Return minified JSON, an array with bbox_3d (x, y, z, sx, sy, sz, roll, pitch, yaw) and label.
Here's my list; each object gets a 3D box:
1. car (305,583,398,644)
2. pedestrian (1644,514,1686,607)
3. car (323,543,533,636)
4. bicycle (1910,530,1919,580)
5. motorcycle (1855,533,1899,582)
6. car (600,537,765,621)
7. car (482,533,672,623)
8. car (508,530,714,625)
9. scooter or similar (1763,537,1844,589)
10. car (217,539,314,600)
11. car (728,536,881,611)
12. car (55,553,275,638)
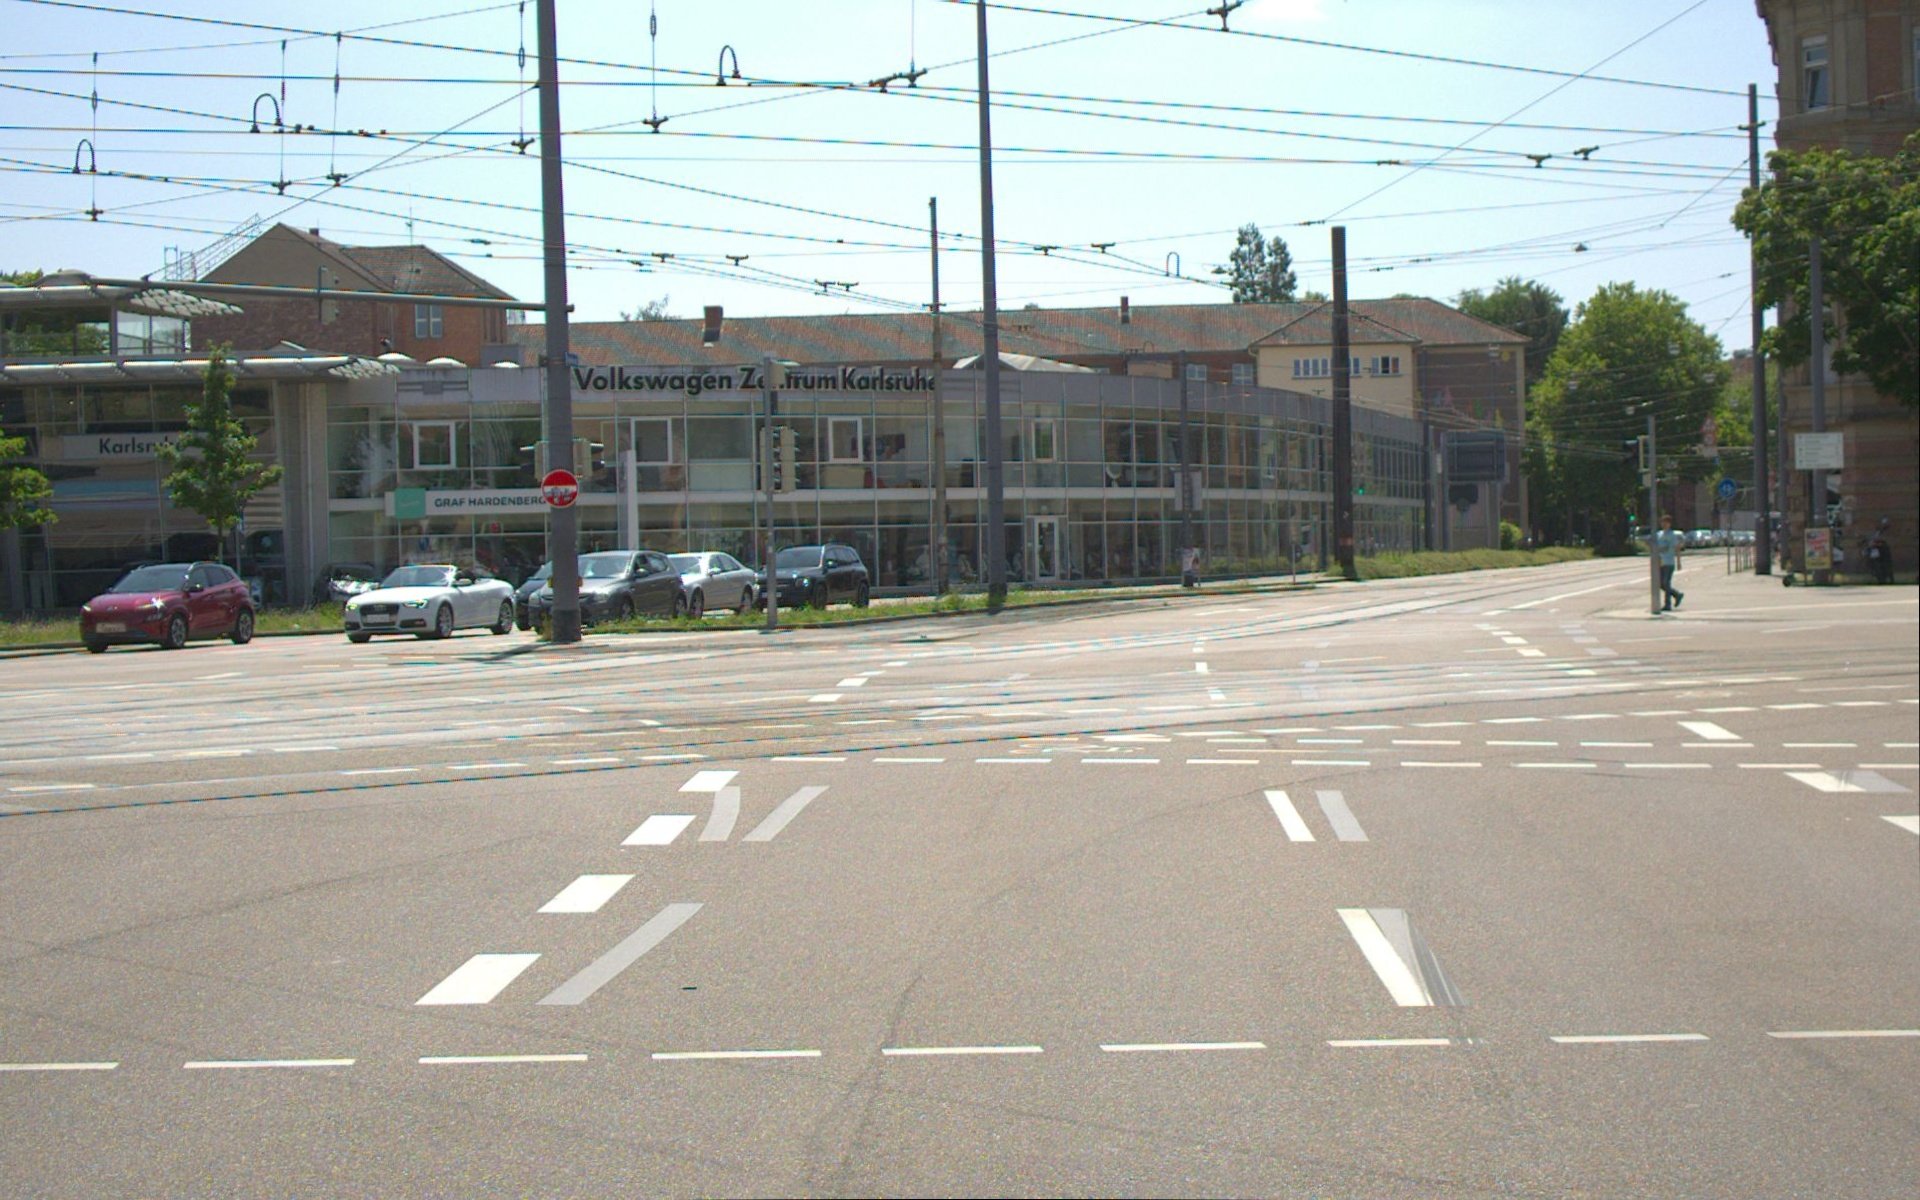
[{"bbox_3d":[-17.550,0.392,99.307,1.920,1.701,4.000,1,0,1],"label":"car"},{"bbox_3d":[12.988,-0.727,63.366,0.461,1.702,0.640,-1,1,-20],"label":"pedestrian"},{"bbox_3d":[-9.696,-0.217,63.127,2.078,1.575,4.843,-1,1,14],"label":"car"},{"bbox_3d":[21.785,-1.022,77.259,0.551,1.116,1.820,-1,1,7],"label":"bicycle"},{"bbox_3d":[20.682,-0.967,77.535,0.580,1.071,1.946,-1,1,4],"label":"motorcycle"},{"bbox_3d":[-6.020,-0.489,75.144,1.995,1.733,4.539,-1,1,17],"label":"car"},{"bbox_3d":[-7.653,-0.475,69.221,1.995,1.695,4.842,-1,1,17],"label":"car"},{"bbox_3d":[-6.377,-0.447,63.376,1.995,1.632,4.842,-1,1,17],"label":"car"},{"bbox_3d":[19.756,-0.862,80.530,1.786,1.177,0.600,-1,1,-18],"label":"scooter or similar"},{"bbox_3d":[-20.025,-0.879,99.301,1.920,1.701,4.000,1,0,1],"label":"car"},{"bbox_3d":[-3.655,-0.656,81.970,2.080,1.677,4.842,-1,1,17],"label":"car"},{"bbox_3d":[-14.773,-0.106,64.180,1.995,1.460,4.843,-1,1,14],"label":"car"}]
